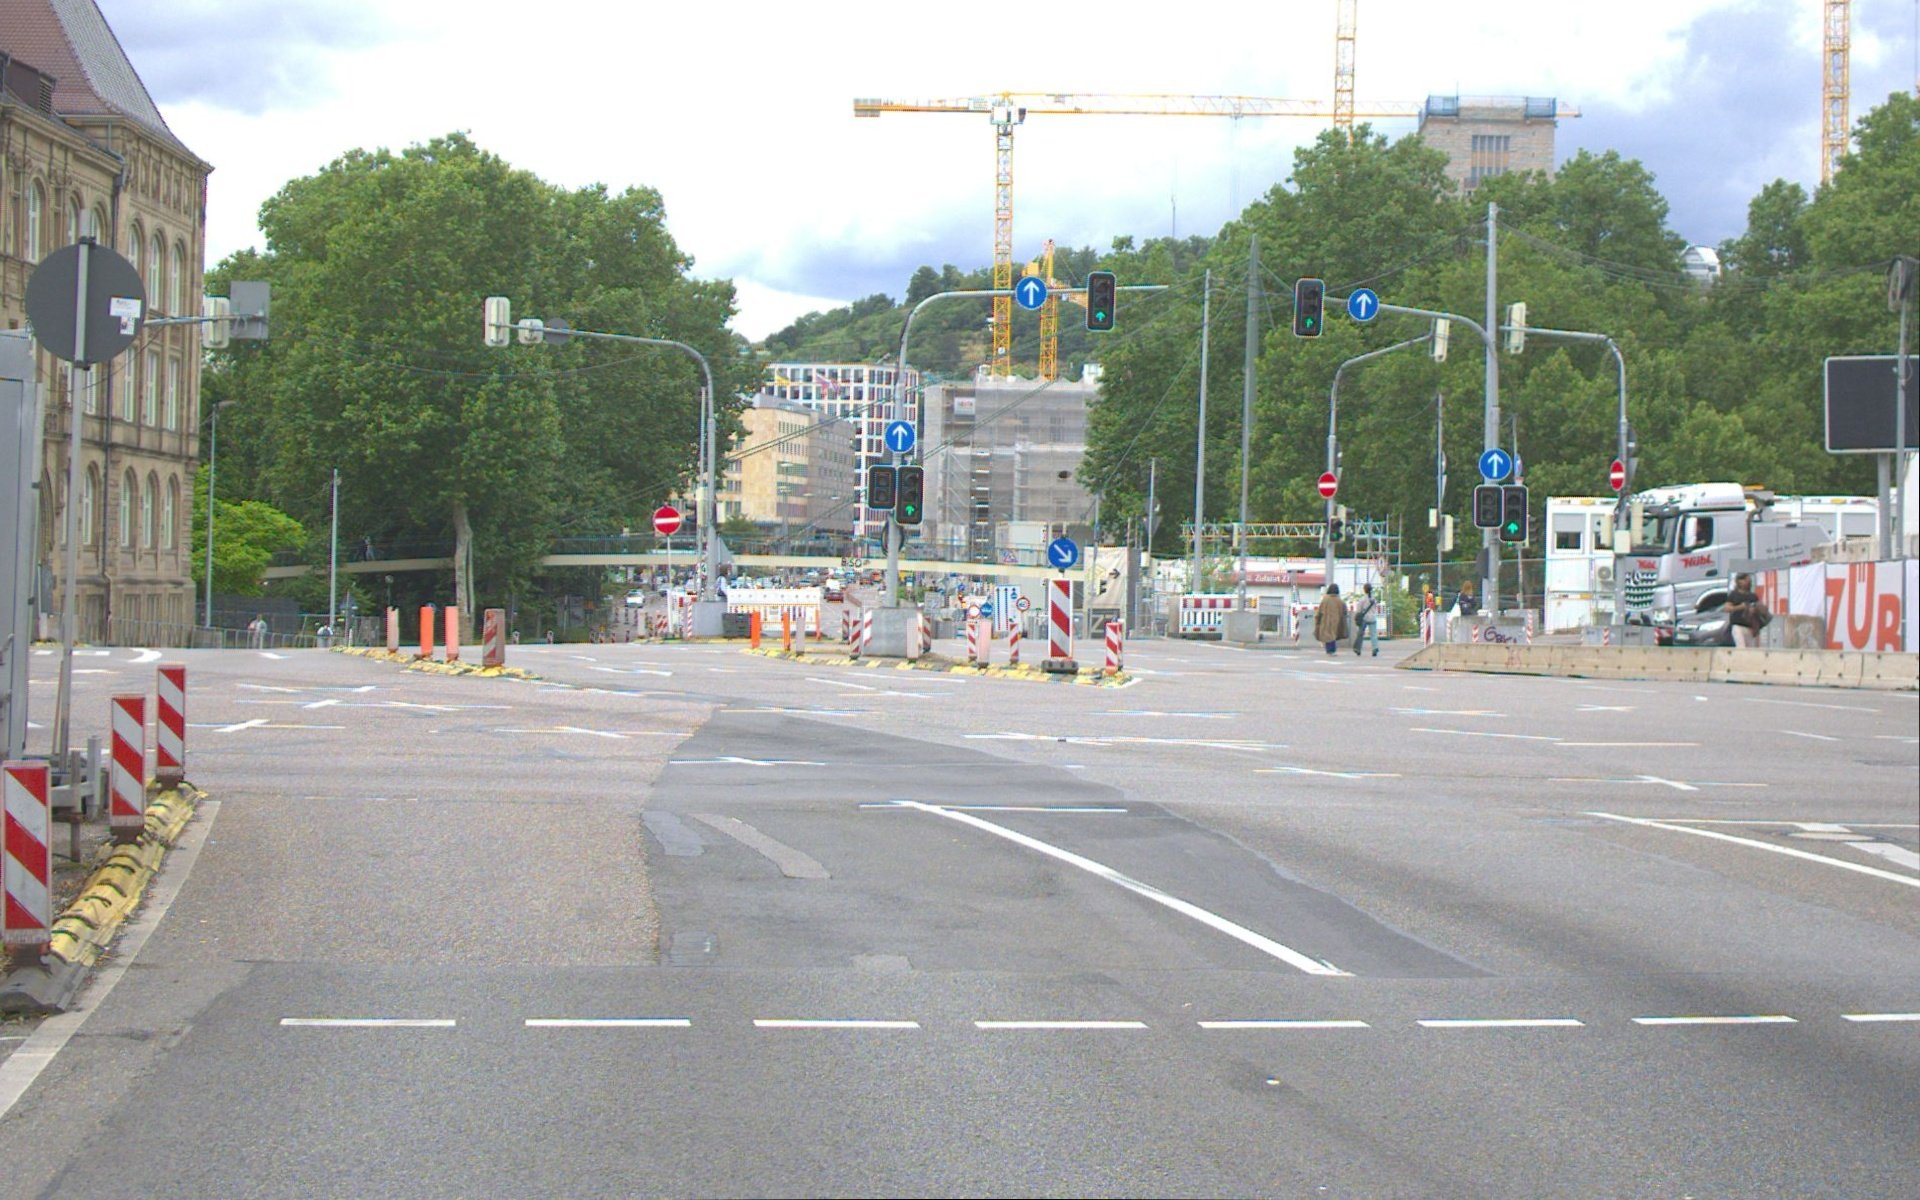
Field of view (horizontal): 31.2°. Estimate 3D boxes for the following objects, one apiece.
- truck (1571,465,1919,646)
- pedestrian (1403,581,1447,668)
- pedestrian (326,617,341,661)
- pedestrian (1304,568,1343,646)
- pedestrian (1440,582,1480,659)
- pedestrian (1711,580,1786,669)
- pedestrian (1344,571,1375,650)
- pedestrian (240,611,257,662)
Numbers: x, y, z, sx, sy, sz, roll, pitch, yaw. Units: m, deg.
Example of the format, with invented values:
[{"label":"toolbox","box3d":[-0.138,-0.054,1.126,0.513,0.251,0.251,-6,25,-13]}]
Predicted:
[{"label":"truck","box3d":[21.361,-1.000,82.003,13.022,4.027,3.952,1,1,-20]},{"label":"pedestrian","box3d":[9.134,0.479,67.538,0.729,1.683,0.678,1,1,-1]},{"label":"pedestrian","box3d":[-28.894,1.794,158.523,0.524,2.007,0.567,1,1,0]},{"label":"pedestrian","box3d":[7.943,0.145,75.069,0.729,1.683,0.678,1,1,-1]},{"label":"pedestrian","box3d":[11.099,0.455,76.265,0.622,1.683,0.710,2,1,29]},{"label":"pedestrian","box3d":[12.586,0.383,54.878,0.796,1.373,0.905,1,1,-16]},{"label":"pedestrian","box3d":[8.726,0.227,75.078,0.566,1.683,0.472,1,1,-1]},{"label":"pedestrian","box3d":[-28.039,1.436,135.487,0.524,2.007,0.567,1,1,0]}]
